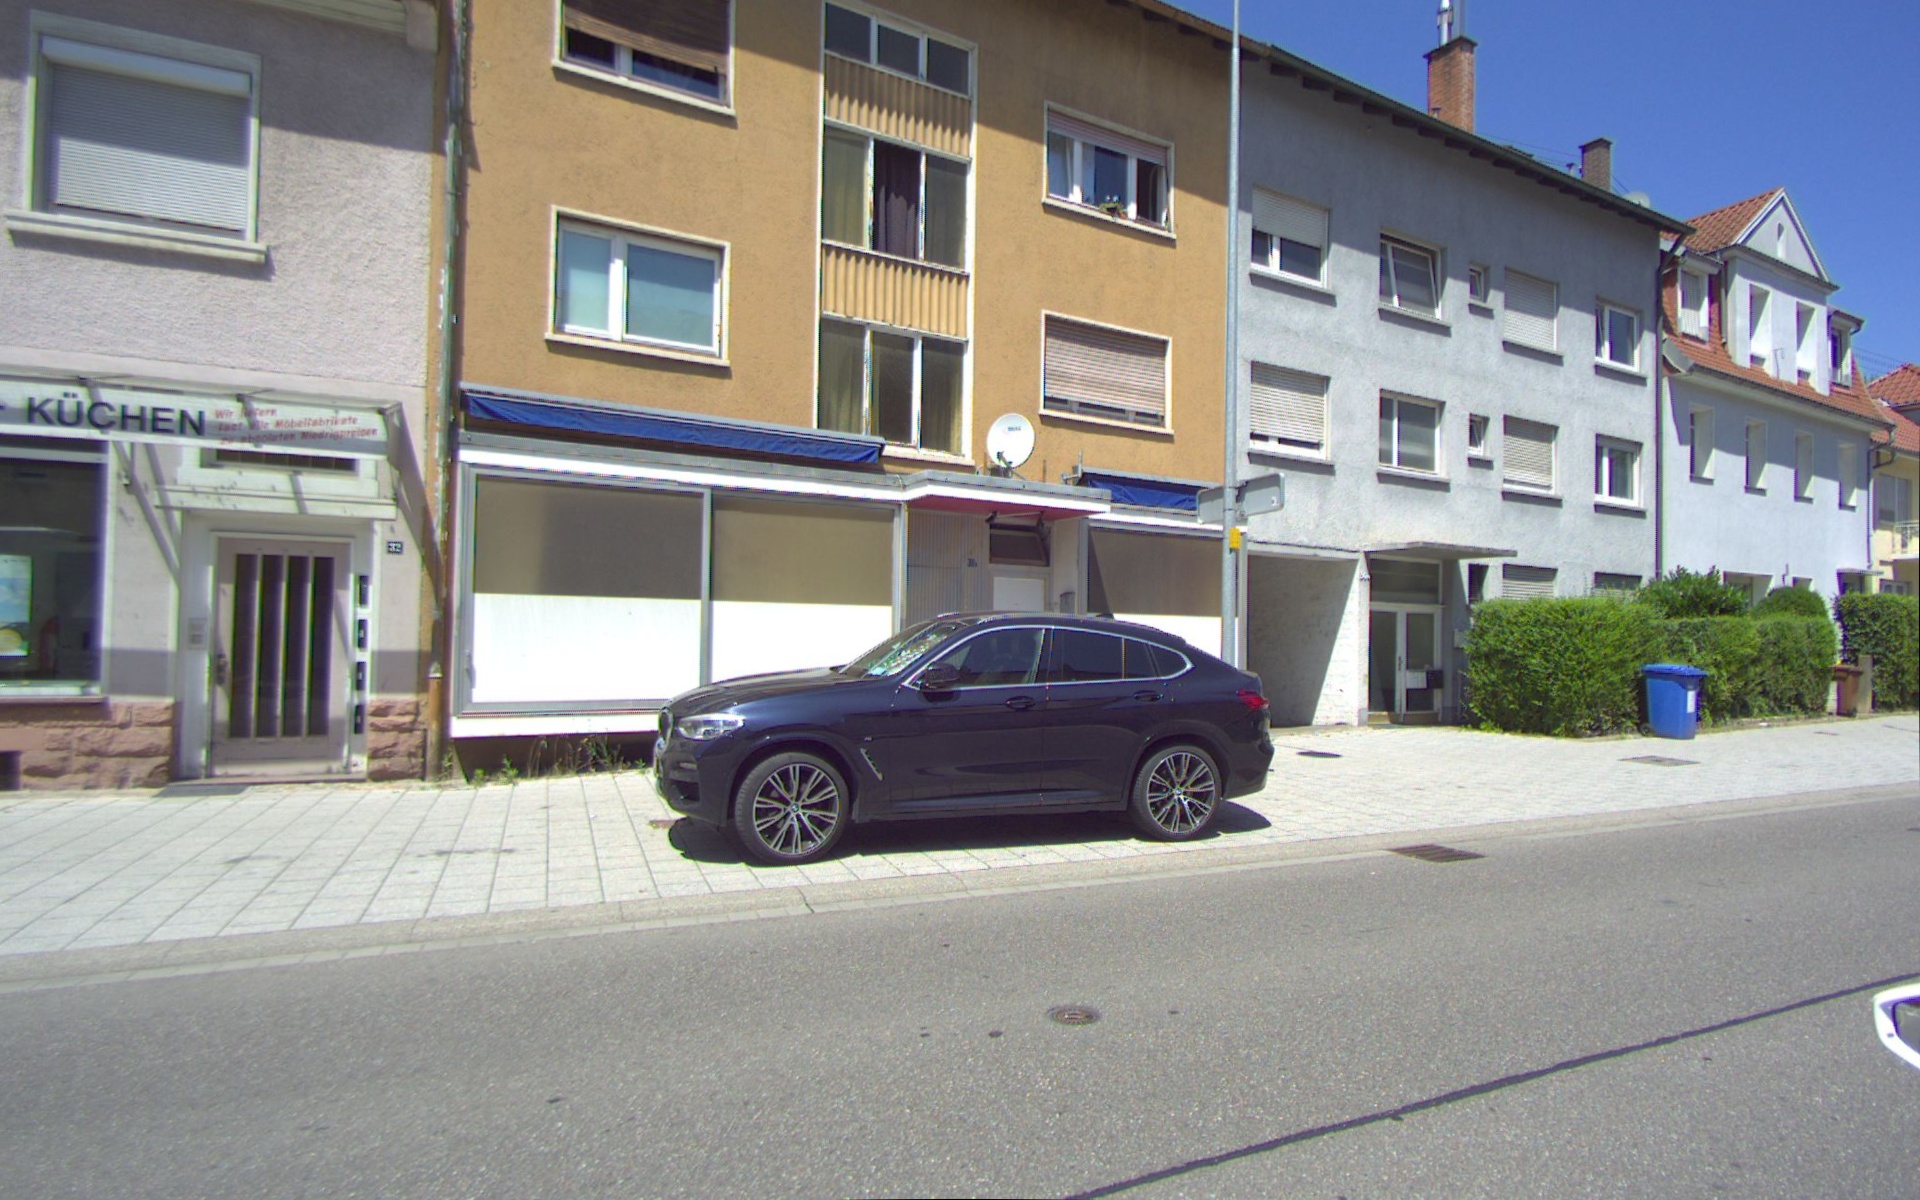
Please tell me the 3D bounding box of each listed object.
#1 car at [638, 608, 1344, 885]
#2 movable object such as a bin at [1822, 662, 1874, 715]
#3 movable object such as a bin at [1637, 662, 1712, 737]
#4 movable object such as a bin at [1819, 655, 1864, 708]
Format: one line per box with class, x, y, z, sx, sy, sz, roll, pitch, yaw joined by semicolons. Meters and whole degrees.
car;0.175;0.916;7.737;5.028;1.636;2.084;1;0;-18
movable object such as a bin;16.384;1.622;18.527;0.697;0.924;0.492;1;-2;-27
movable object such as a bin;10.515;1.445;14.790;0.644;1.061;0.670;1;-2;-28
movable object such as a bin;17.287;1.588;19.710;0.606;1.003;0.465;1;-2;-27
